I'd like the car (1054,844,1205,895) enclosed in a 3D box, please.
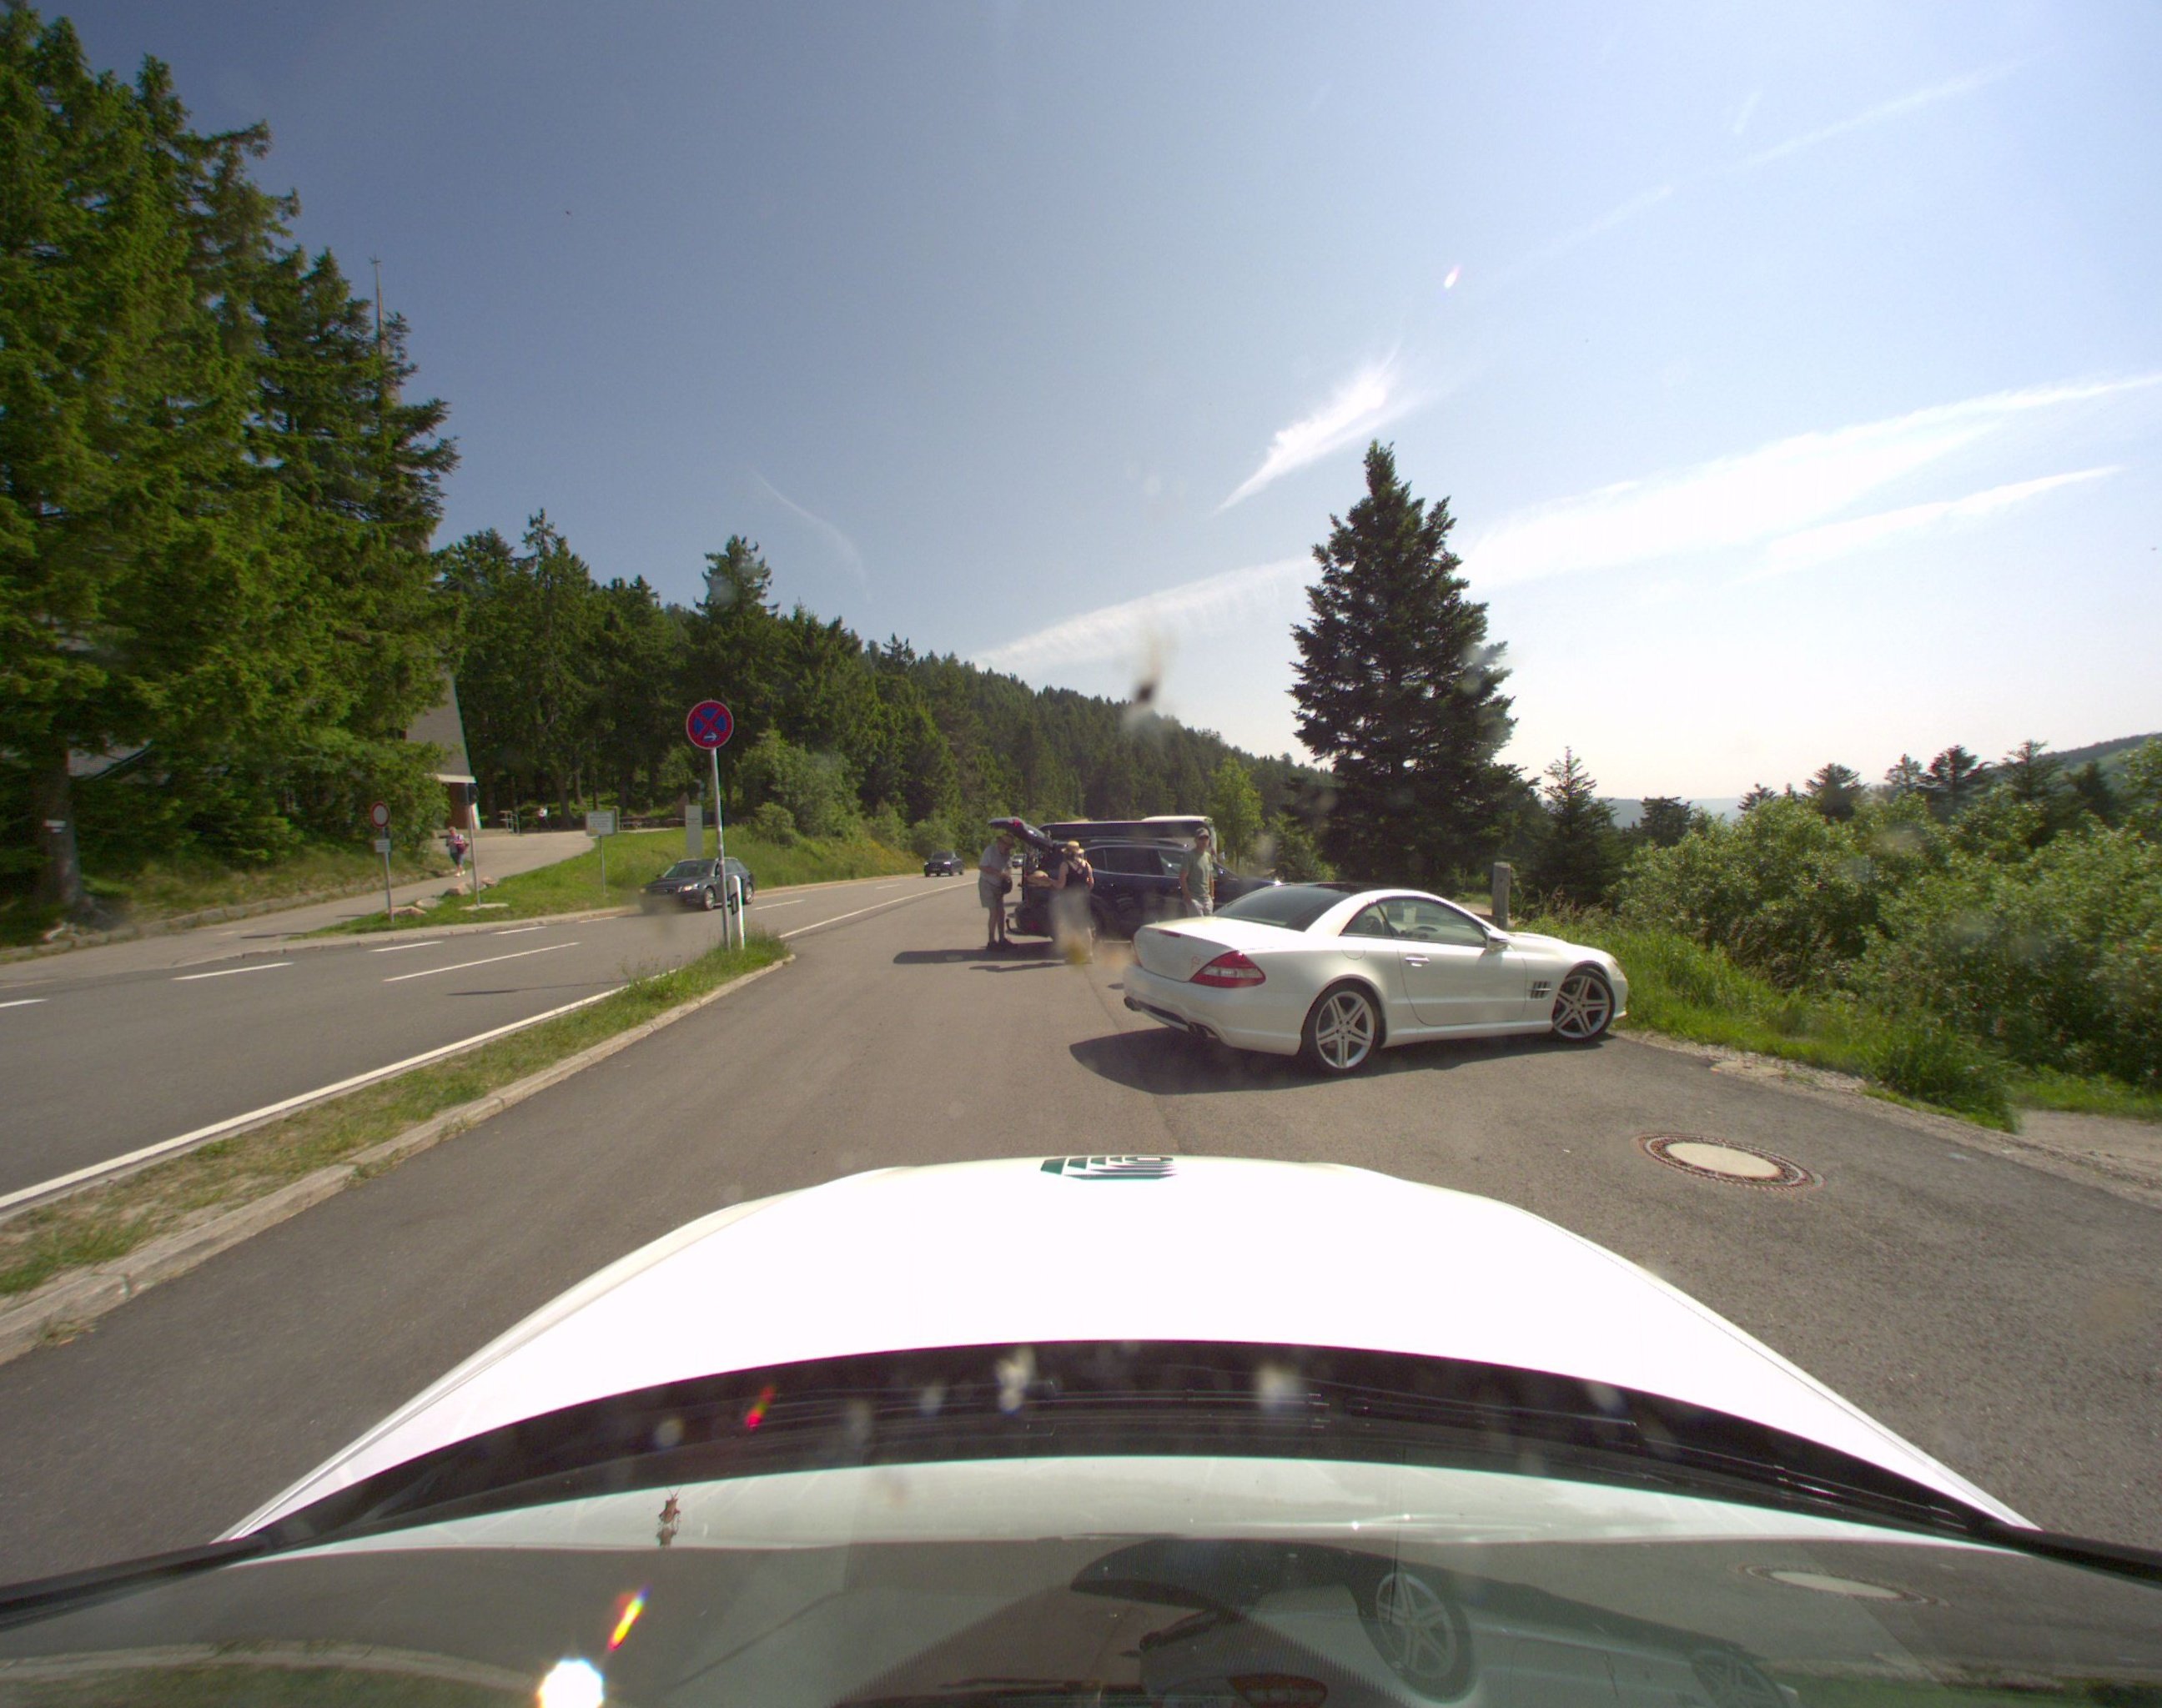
[{"bbox_3d":[1.380,0.441,23.947,4.231,1.269,1.837,-2,0,-1],"label":"car"}]

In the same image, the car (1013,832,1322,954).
[{"bbox_3d":[1.186,0.566,12.343,4.339,1.626,1.866,1,-1,-7],"label":"car"}]

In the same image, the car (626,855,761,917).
[{"bbox_3d":[-10.801,0.820,23.093,1.701,1.437,4.448,-3,1,-1],"label":"car"}]

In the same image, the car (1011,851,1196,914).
[{"bbox_3d":[0.460,0.624,18.823,4.078,1.376,1.698,0,0,-7],"label":"car"}]

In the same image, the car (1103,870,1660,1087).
[{"bbox_3d":[2.551,0.829,6.826,4.417,1.296,1.742,1,1,-24],"label":"car"}]

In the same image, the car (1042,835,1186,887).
[{"bbox_3d":[1.175,0.235,29.742,5.019,1.651,2.047,-2,0,-1],"label":"car"}]

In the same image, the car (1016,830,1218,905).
[{"bbox_3d":[0.913,0.321,21.052,4.931,1.695,1.946,-2,0,1],"label":"car"}]

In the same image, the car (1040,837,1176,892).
[{"bbox_3d":[0.848,0.324,26.620,4.231,1.553,1.837,-2,0,-1],"label":"car"}]

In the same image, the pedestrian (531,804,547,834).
[{"bbox_3d":[-35.248,-2.277,52.931,0.674,1.877,0.545,-3,0,32],"label":"pedestrian"}]

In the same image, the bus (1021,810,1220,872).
[{"bbox_3d":[2.736,-0.815,54.955,13.015,3.532,3.052,-2,0,9],"label":"bus"}]

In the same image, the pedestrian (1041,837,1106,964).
[{"bbox_3d":[-0.102,0.595,10.762,0.716,1.613,0.533,0,-1,-21],"label":"pedestrian"}]

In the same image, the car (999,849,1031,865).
[{"bbox_3d":[-6.504,0.255,80.768,1.866,1.474,4.730,-1,0,12],"label":"car"}]

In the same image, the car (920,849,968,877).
[{"bbox_3d":[-9.017,0.579,53.931,1.984,1.647,4.574,-3,1,5],"label":"car"}]

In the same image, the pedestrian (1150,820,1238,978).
[{"bbox_3d":[1.347,0.516,9.762,0.751,1.800,0.728,0,-1,-33],"label":"pedestrian"}]

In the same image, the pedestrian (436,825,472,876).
[{"bbox_3d":[-21.526,-0.120,27.967,0.722,1.681,0.678,-3,0,-20],"label":"pedestrian"}]

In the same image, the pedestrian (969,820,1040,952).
[{"bbox_3d":[-1.129,0.437,12.100,0.728,1.870,0.763,1,3,29],"label":"pedestrian"}]
